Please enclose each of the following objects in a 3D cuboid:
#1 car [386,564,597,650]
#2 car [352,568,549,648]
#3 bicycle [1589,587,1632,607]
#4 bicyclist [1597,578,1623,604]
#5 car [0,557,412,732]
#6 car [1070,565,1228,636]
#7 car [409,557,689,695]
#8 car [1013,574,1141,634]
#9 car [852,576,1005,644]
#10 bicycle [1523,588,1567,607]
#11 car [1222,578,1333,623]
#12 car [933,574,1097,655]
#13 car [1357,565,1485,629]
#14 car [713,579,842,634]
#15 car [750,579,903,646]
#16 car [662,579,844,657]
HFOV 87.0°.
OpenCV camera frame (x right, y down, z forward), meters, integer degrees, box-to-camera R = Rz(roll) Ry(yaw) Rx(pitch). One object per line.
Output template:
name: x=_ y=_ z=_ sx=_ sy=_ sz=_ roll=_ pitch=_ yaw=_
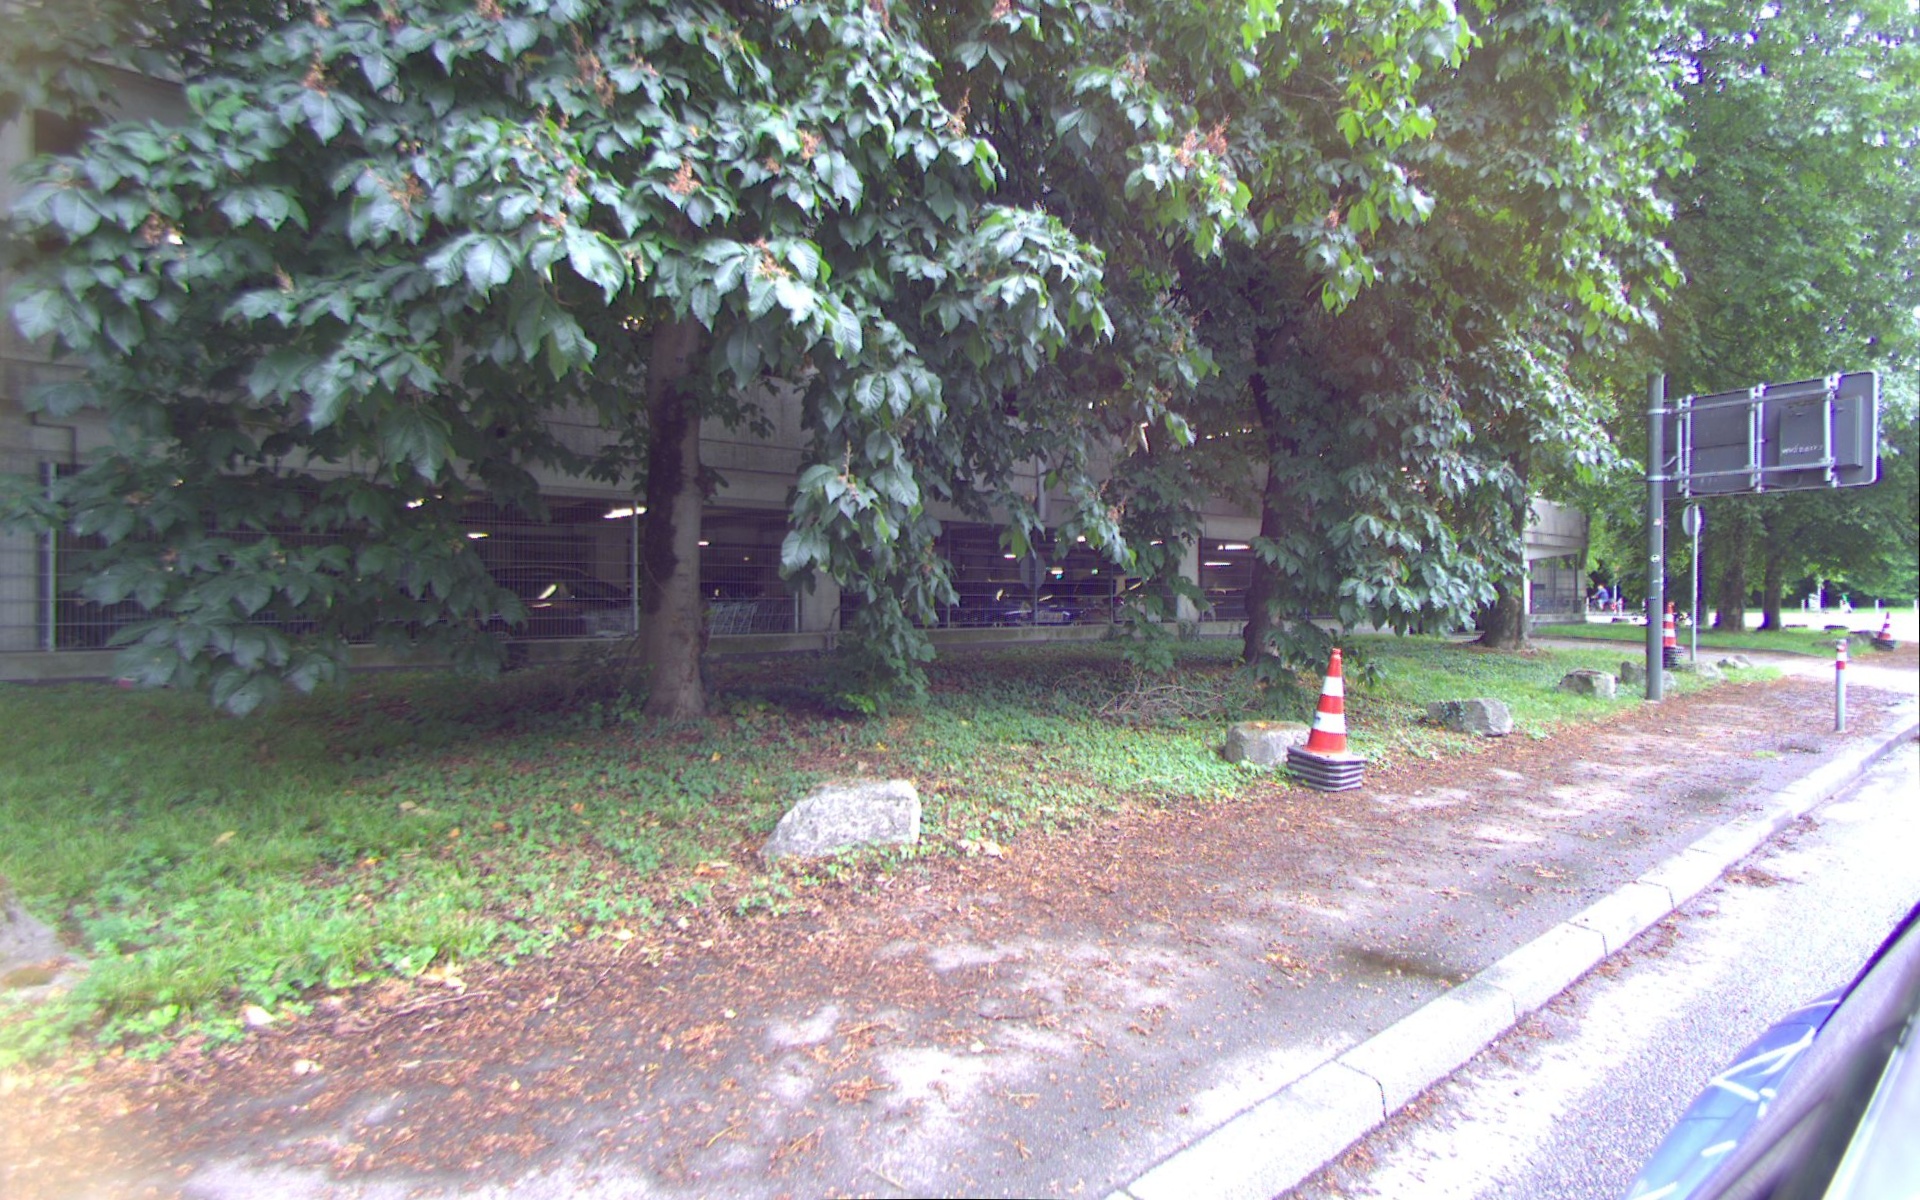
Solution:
car: x=-9.755 y=0.105 z=21.203 sx=3.639 sy=1.627 sz=1.718 roll=-2 pitch=1 yaw=-42
car: x=-11.444 y=0.134 z=22.847 sx=3.639 sy=1.627 sz=1.718 roll=-2 pitch=1 yaw=-42
bicycle: x=38.916 y=-0.156 z=60.551 sx=0.765 sy=1.157 sz=2.047 roll=-3 pitch=1 yaw=-42
bicyclist: x=38.903 y=-0.533 z=60.554 sx=0.912 sy=1.514 sz=1.099 roll=-3 pitch=1 yaw=-42
car: x=-10.331 y=0.469 z=13.897 sx=4.594 sy=2.039 sz=1.996 roll=-2 pitch=0 yaw=-41
car: x=5.076 y=-0.035 z=26.822 sx=4.587 sy=1.730 sz=1.588 roll=-2 pitch=0 yaw=-41
car: x=-6.871 y=0.341 z=17.083 sx=3.929 sy=2.039 sz=1.997 roll=-2 pitch=0 yaw=-40
car: x=3.449 y=0.077 z=29.416 sx=3.629 sy=1.606 sz=1.718 roll=-2 pitch=1 yaw=-42
car: x=-0.761 y=0.221 z=25.801 sx=3.639 sy=1.565 sz=1.718 roll=-2 pitch=1 yaw=-42
bicycle: x=36.499 y=-0.160 z=63.159 sx=0.736 sy=1.137 sz=2.252 roll=-2 pitch=0 yaw=-44
car: x=11.362 y=0.001 z=36.147 sx=3.927 sy=1.471 sz=1.876 roll=-2 pitch=1 yaw=-38
car: x=1.353 y=0.288 z=23.808 sx=3.791 sy=1.730 sz=1.588 roll=-2 pitch=0 yaw=-41
car: x=14.544 y=-0.091 z=31.810 sx=4.653 sy=1.858 sz=1.922 roll=-1 pitch=0 yaw=-41
car: x=-5.716 y=0.172 z=31.861 sx=3.638 sy=1.565 sz=1.719 roll=-2 pitch=1 yaw=-41
car: x=-3.449 y=0.287 z=26.544 sx=3.639 sy=1.565 sz=1.718 roll=-2 pitch=1 yaw=-42
car: x=-4.588 y=0.358 z=22.701 sx=3.639 sy=1.565 sz=1.718 roll=-2 pitch=1 yaw=-42
